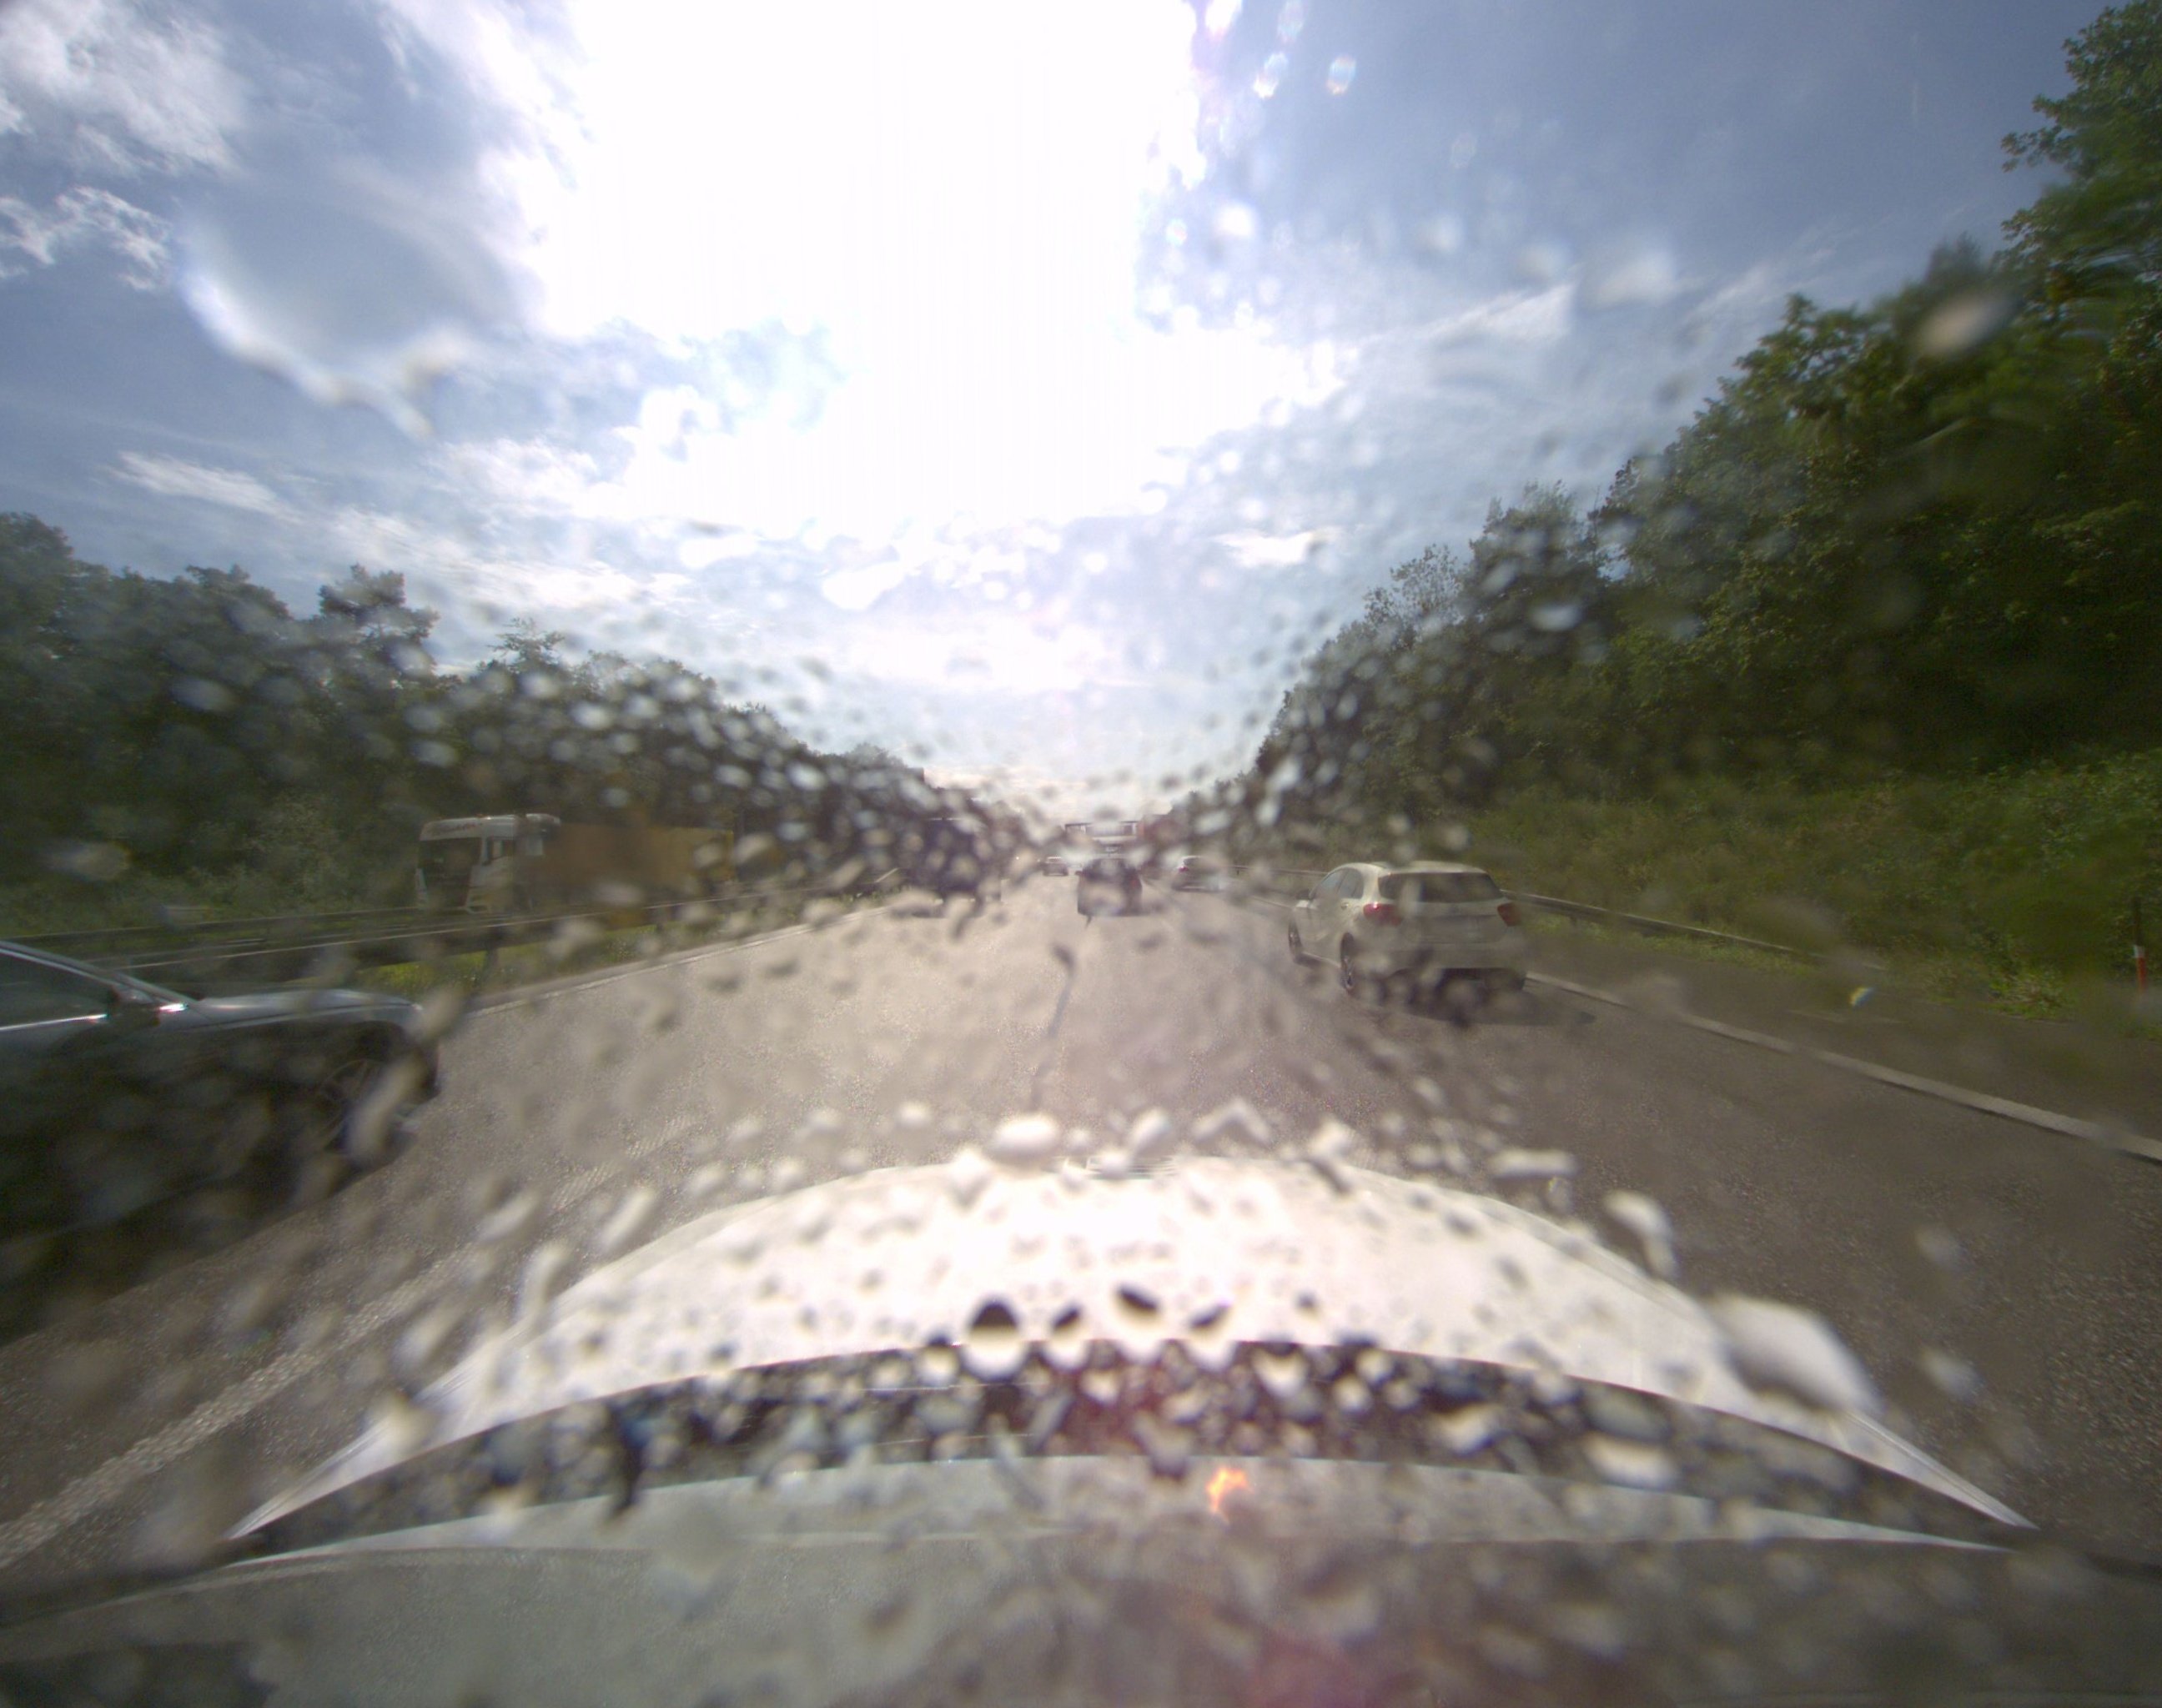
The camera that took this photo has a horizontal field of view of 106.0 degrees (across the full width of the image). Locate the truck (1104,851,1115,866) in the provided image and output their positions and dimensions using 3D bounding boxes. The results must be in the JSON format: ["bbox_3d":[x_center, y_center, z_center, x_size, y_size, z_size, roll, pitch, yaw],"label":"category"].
[{"bbox_3d":[5.670,0.906,163.478,2.184,2.875,4.849,0,0,0],"label":"truck"}]

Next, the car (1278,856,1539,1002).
[{"bbox_3d":[3.708,0.748,10.079,1.685,1.425,4.222,0,0,2],"label":"car"}]

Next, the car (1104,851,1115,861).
[{"bbox_3d":[4.034,0.268,115.612,1.547,1.383,3.210,0,0,0],"label":"car"}]

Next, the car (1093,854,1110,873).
[{"bbox_3d":[1.928,0.848,76.571,1.526,1.746,3.484,0,0,0],"label":"car"}]

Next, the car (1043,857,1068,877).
[{"bbox_3d":[-1.994,1.049,65.022,1.848,1.551,3.484,0,0,0],"label":"car"}]

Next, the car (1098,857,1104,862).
[{"bbox_3d":[5.773,1.623,238.164,1.544,1.267,3.484,0,0,0],"label":"car"}]

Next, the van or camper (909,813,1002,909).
[{"bbox_3d":[-3.777,0.205,25.492,1.987,2.669,5.384,0,0,0],"label":"van or camper"}]

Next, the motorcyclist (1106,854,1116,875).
[{"bbox_3d":[2.403,0.815,65.232,0.799,1.633,1.013,0,-1,0],"label":"motorcyclist"}]

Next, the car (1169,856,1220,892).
[{"bbox_3d":[4.866,0.826,35.355,1.675,1.442,3.905,0,0,0],"label":"car"}]

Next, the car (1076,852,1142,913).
[{"bbox_3d":[0.756,0.754,23.055,1.712,1.568,3.484,0,0,0],"label":"car"}]

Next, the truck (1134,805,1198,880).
[{"bbox_3d":[5.946,-0.685,60.243,3.635,4.720,16.787,0,0,2],"label":"truck"}]

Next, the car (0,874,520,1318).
[{"bbox_3d":[-4.465,0.826,2.675,1.787,1.419,4.840,0,0,1],"label":"car"}]

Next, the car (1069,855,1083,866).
[{"bbox_3d":[-0.644,0.940,110.335,1.745,1.457,3.389,0,0,0],"label":"car"}]

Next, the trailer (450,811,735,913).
[{"bbox_3d":[-20.998,0.328,37.465,2.713,3.644,16.681,0,0,1],"label":"trailer"}]

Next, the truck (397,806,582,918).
[{"bbox_3d":[-21.187,0.284,29.578,2.713,3.664,5.332,0,0,1],"label":"truck"}]

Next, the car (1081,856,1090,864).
[{"bbox_3d":[0.795,1.024,136.481,1.455,1.393,3.311,0,0,0],"label":"car"}]

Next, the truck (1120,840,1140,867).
[{"bbox_3d":[8.461,0.011,141.640,3.243,4.479,12.427,0,0,2],"label":"truck"}]

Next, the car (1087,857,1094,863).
[{"bbox_3d":[2.281,1.388,193.218,1.544,1.267,3.484,0,0,0],"label":"car"}]

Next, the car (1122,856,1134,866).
[{"bbox_3d":[6.651,0.953,114.585,1.547,1.383,3.210,0,0,0],"label":"car"}]

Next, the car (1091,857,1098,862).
[{"bbox_3d":[3.435,1.450,206.537,1.544,1.267,3.484,0,0,0],"label":"car"}]

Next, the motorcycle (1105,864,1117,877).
[{"bbox_3d":[2.391,1.335,65.272,0.888,1.000,2.896,0,0,0],"label":"motorcycle"}]

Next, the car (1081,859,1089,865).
[{"bbox_3d":[0.803,1.602,161.942,1.544,1.267,3.484,0,0,0],"label":"car"}]
